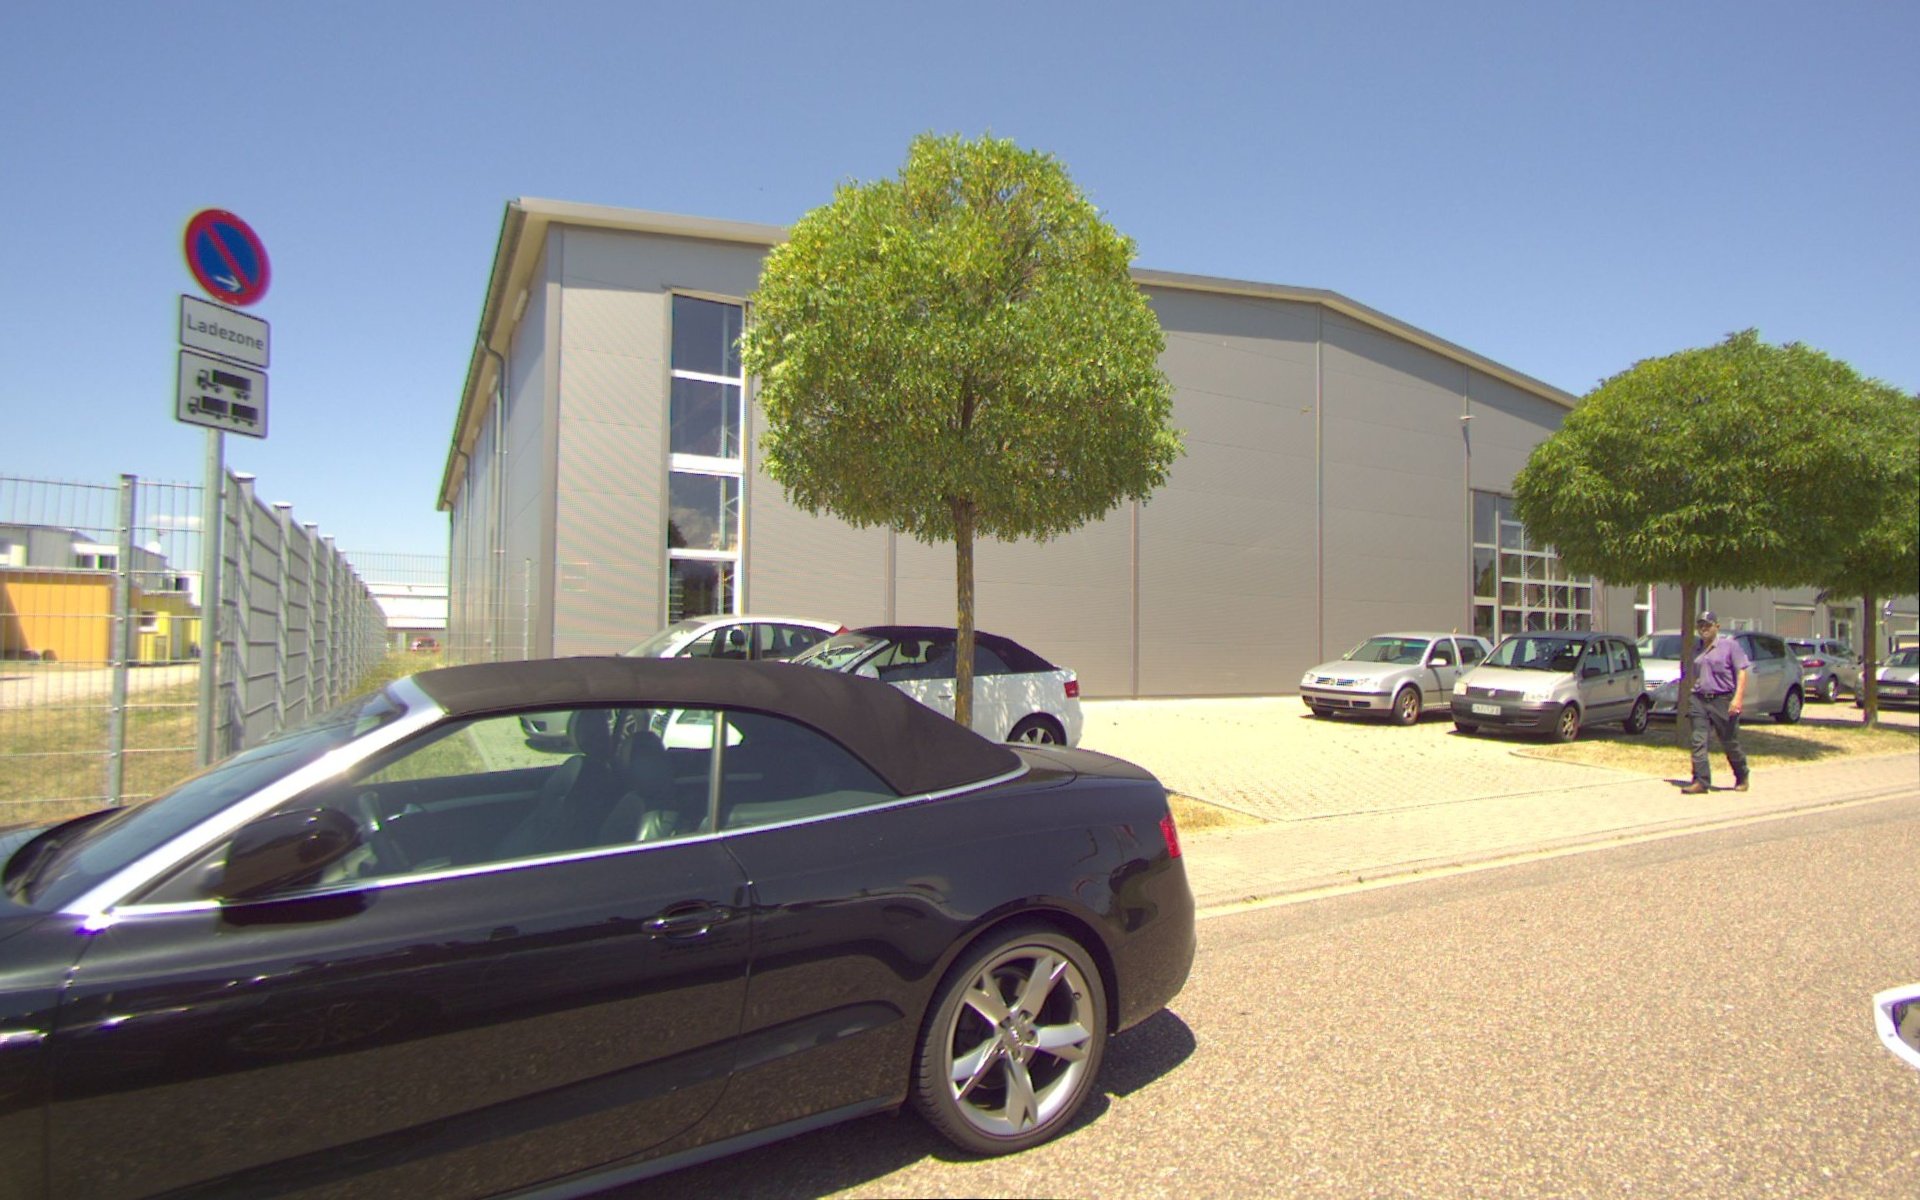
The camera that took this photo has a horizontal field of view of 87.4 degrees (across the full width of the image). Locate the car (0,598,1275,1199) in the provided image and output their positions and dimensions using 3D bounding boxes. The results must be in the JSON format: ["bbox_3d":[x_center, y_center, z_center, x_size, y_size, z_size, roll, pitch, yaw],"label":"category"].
[{"bbox_3d":[-1.336,0.821,2.998,4.472,1.519,1.816,2,-3,-30],"label":"car"}]

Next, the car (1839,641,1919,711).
[{"bbox_3d":[22.143,1.726,23.075,3.793,1.472,1.758,2,-1,-29],"label":"car"}]

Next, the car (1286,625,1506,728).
[{"bbox_3d":[7.360,1.228,16.859,3.666,1.520,1.672,2,-1,-34],"label":"car"}]

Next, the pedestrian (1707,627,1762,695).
[{"bbox_3d":[20.436,1.606,26.510,0.953,1.736,0.836,2,-1,-30],"label":"pedestrian"}]

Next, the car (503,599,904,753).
[{"bbox_3d":[-2.946,0.804,11.680,4.205,1.520,1.817,2,-1,-28],"label":"car"}]

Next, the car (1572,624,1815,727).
[{"bbox_3d":[12.927,1.268,17.652,4.485,1.594,1.758,2,-1,-29],"label":"car"}]

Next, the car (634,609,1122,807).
[{"bbox_3d":[-0.731,0.902,9.598,4.273,1.520,1.817,2,-1,-28],"label":"car"}]

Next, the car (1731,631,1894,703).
[{"bbox_3d":[21.528,1.652,25.346,4.295,1.649,1.728,2,-1,-29],"label":"car"}]

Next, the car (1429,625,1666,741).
[{"bbox_3d":[8.789,1.164,14.959,3.667,1.519,1.672,2,-2,-35],"label":"car"}]

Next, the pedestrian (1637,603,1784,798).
[{"bbox_3d":[7.493,0.961,10.034,1.120,1.825,0.742,2,0,-28],"label":"pedestrian"}]
